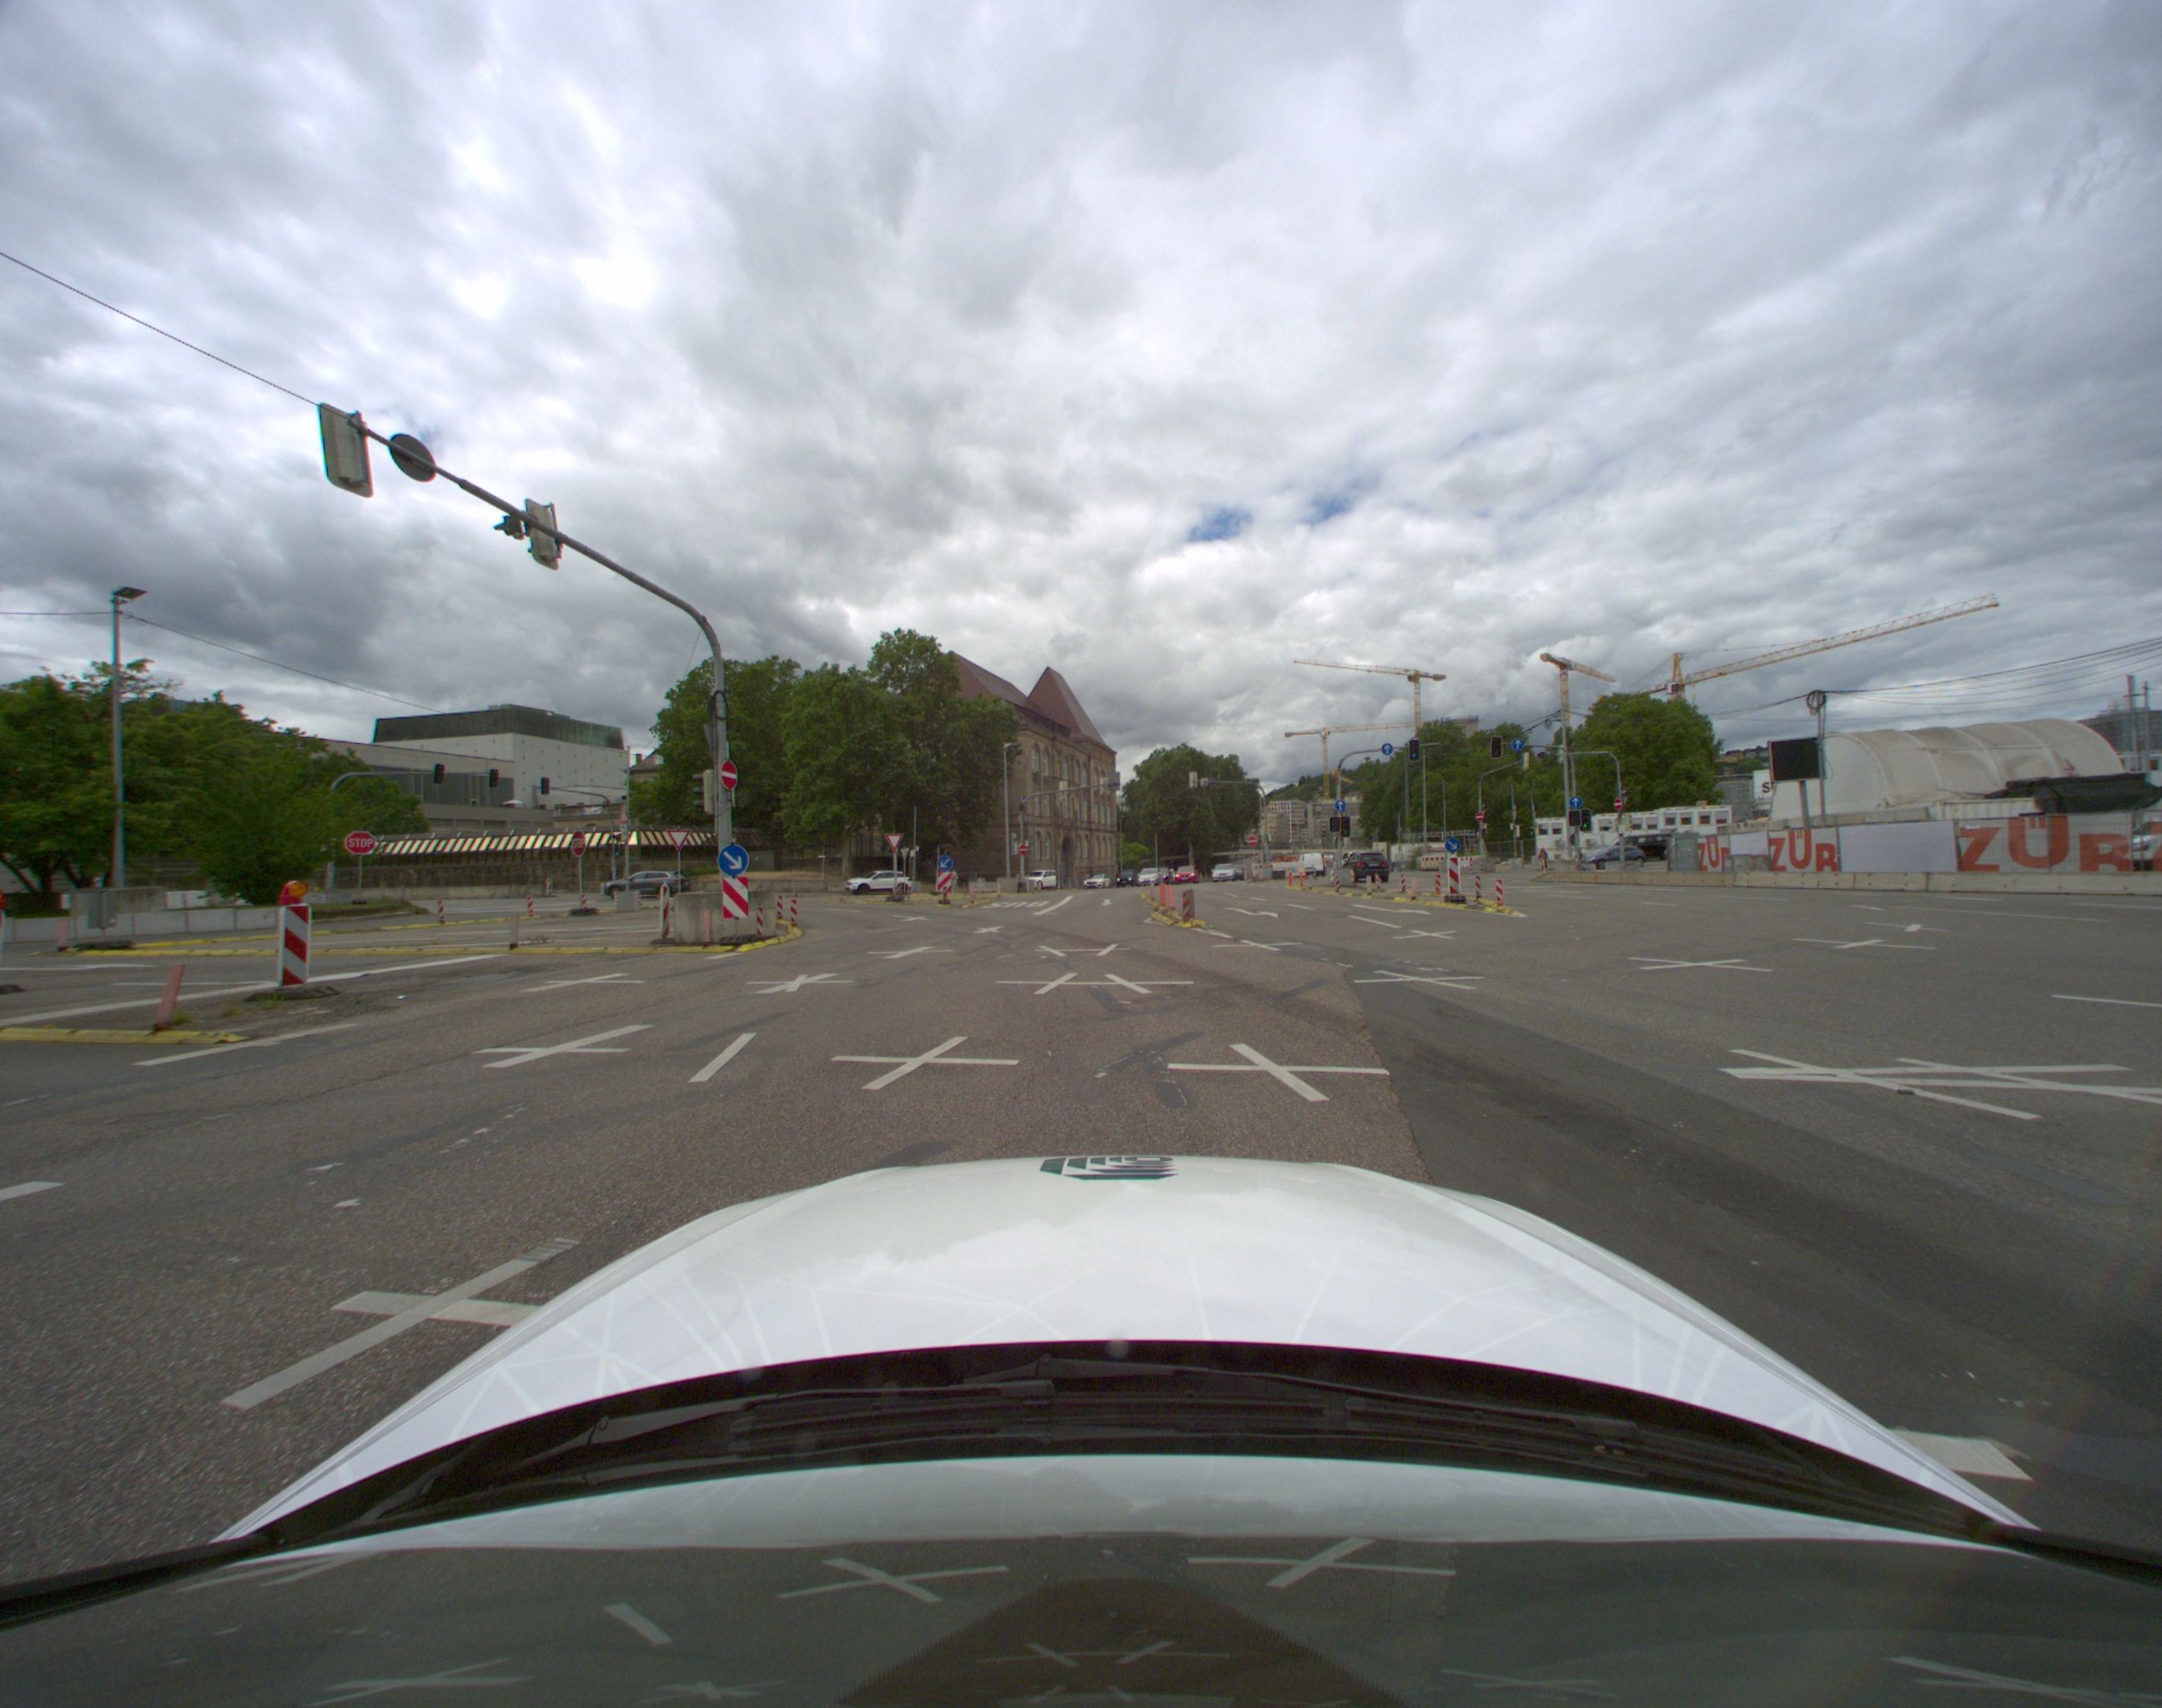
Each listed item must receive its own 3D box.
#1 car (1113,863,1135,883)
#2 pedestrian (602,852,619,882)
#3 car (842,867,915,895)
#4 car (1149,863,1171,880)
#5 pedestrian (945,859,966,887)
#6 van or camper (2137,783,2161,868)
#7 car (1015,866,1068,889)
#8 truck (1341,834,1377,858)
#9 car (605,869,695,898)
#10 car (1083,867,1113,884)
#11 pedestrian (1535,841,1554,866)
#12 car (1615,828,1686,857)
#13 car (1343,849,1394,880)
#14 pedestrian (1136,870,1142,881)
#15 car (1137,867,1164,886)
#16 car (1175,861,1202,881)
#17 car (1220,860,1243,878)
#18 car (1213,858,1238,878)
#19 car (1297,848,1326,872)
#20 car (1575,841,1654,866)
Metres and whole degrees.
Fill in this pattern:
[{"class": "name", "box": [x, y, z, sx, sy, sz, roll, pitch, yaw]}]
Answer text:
[{"class": "car", "box": [4.784, 2.113, 89.698, 1.921, 1.938, 3.681, -4, -5, 9]}, {"class": "pedestrian", "box": [-31.607, 0.881, 54.709, 0.851, 2.014, 0.619, -2, -2, -19]}, {"class": "car", "box": [-13.320, 1.744, 53.600, 4.349, 1.567, 1.738, 0, 3, -35]}, {"class": "car", "box": [7.161, 1.558, 73.596, 1.649, 1.435, 3.458, -1, -1, 12]}, {"class": "pedestrian", "box": [-9.295, 1.389, 60.348, 1.197, 2.014, 1.193, -1, -1, -26]}, {"class": "van or camper", "box": [29.963, -0.868, 20.256, 3.948, 2.227, 2.013, -4, -1, 31]}, {"class": "car", "box": [-3.011, 1.764, 62.572, 1.794, 1.642, 4.580, -1, 0, 31]}, {"class": "truck", "box": [20.394, -0.566, 59.899, 1.922, 1.681, 4.025, -1, 0, 11]}, {"class": "car", "box": [-26.434, 1.800, 50.094, 4.459, 1.567, 1.826, -1, 0, -6]}, {"class": "car", "box": [1.581, 1.948, 74.263, 1.721, 1.435, 4.399, -1, 0, 16]}, {"class": "pedestrian", "box": [30.721, -0.021, 54.004, 0.620, 1.592, 0.848, -2, -2, -9]}, {"class": "car", "box": [42.078, -0.841, 60.202, 3.984, 2.013, 1.995, -1, 0, -8]}, {"class": "car", "box": [16.377, 0.617, 46.538, 1.928, 1.667, 3.649, -2, -1, 7]}, {"class": "pedestrian", "box": [8.974, 3.283, 126.051, 0.655, 1.635, 0.853, -2, -1, 9]}, {"class": "car", "box": [5.715, 1.823, 66.520, 1.649, 1.435, 3.457, -4, -3, 12]}, {"class": "car", "box": [8.536, 1.349, 64.644, 1.674, 1.435, 3.459, -3, -1, 14]}, {"class": "car", "box": [13.105, 1.284, 70.680, 1.677, 1.435, 3.459, -4, -2, 14]}, {"class": "car", "box": [11.409, 1.123, 64.176, 1.677, 1.435, 3.459, -4, -2, 14]}, {"class": "car", "box": [17.610, 0.473, 62.364, 1.748, 1.687, 3.652, -2, -1, 10]}, {"class": "car", "box": [34.474, -0.038, 52.681, 4.049, 1.435, 1.783, -2, 0, -6]}]
